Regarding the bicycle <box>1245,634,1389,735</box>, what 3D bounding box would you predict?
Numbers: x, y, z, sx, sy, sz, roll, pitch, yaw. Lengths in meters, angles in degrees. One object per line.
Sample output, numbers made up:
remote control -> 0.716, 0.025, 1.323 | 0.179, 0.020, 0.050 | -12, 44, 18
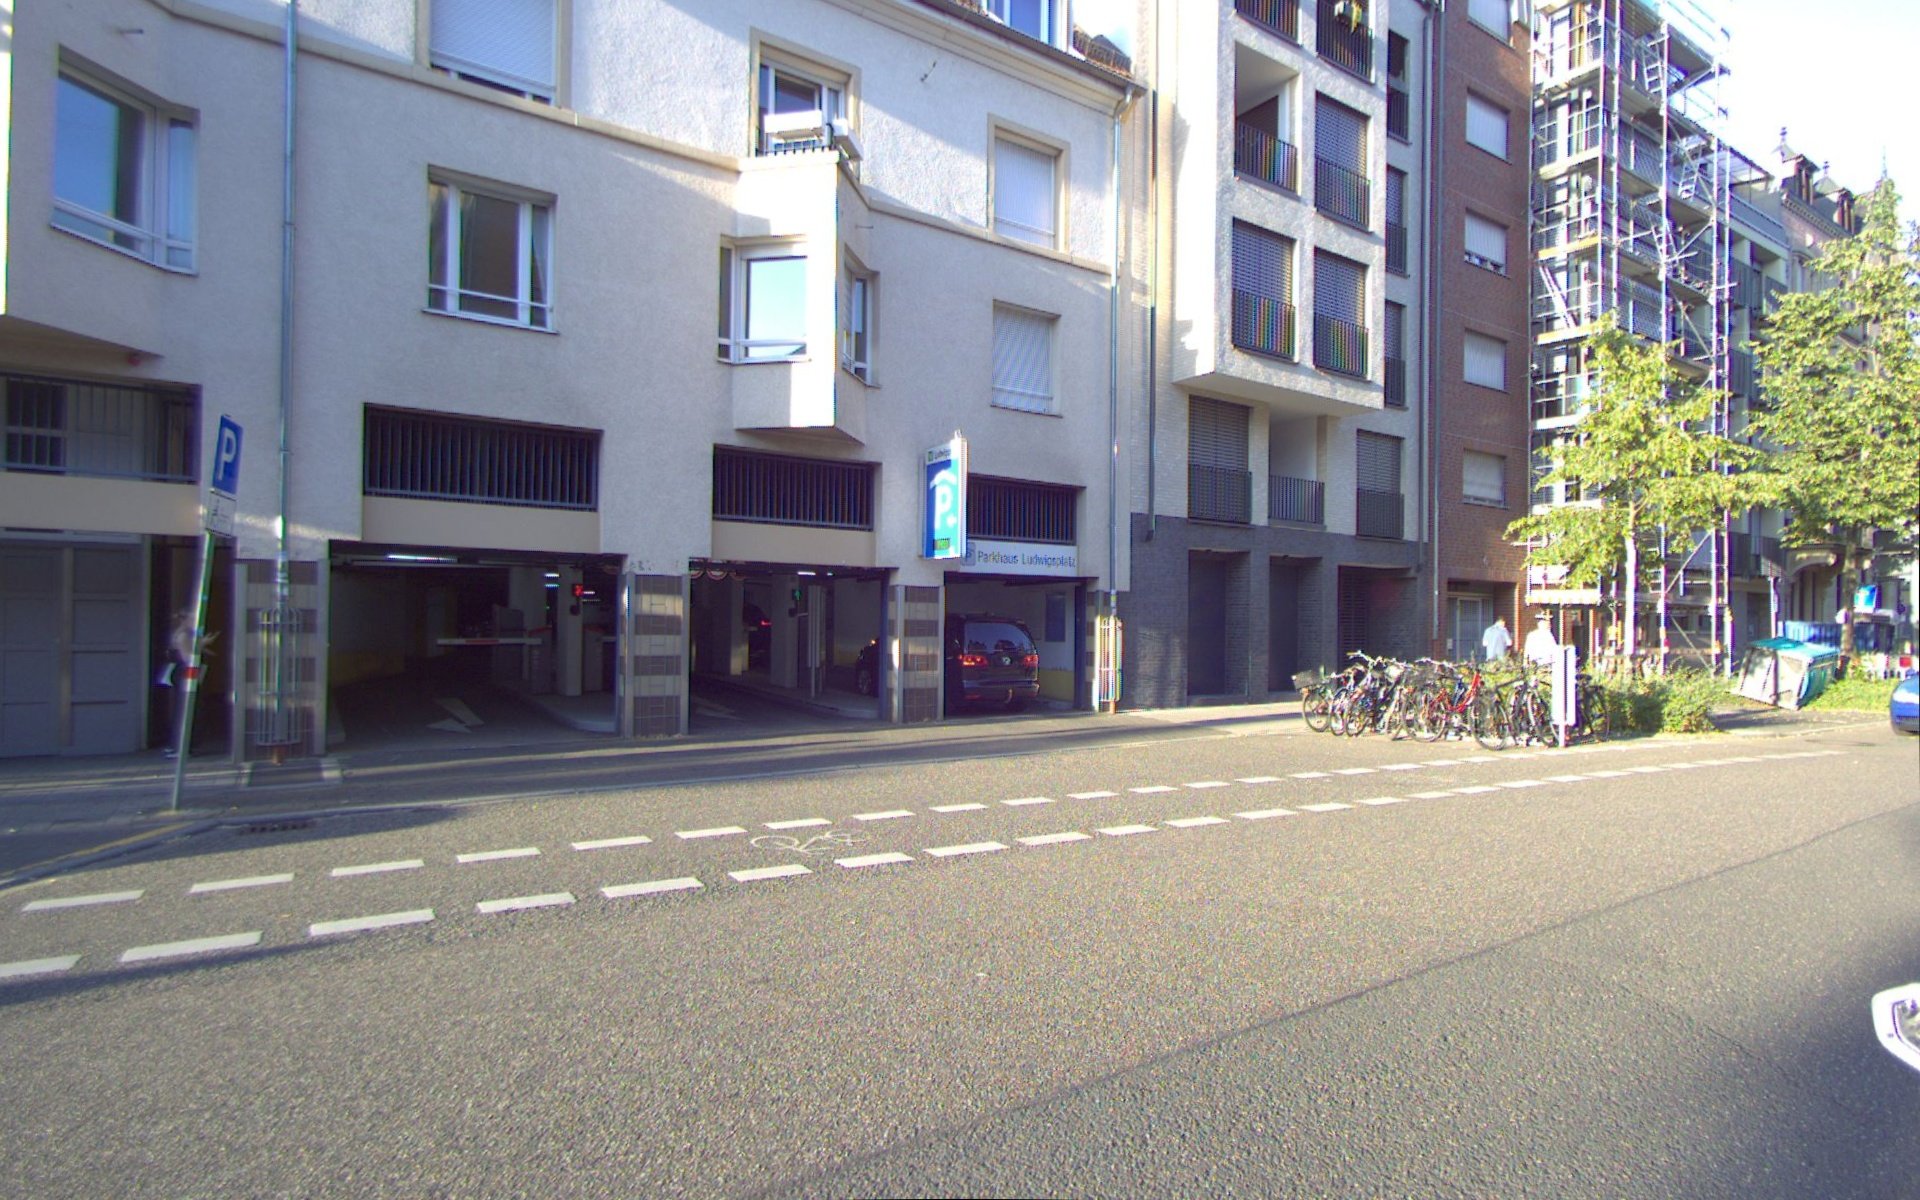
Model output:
bicycle -> 5.631, 1.269, 15.682 | 3.130, 1.414, 0.714 | 2, 0, -43

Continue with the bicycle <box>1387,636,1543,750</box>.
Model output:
bicycle -> 7.119, 1.232, 14.035 | 3.143, 1.414, 0.884 | 2, -1, -43

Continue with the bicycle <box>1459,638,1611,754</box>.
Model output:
bicycle -> 7.709, 1.202, 13.366 | 3.164, 1.368, 0.837 | 2, -2, -43

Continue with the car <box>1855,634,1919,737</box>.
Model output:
car -> 15.656, 1.288, 15.300 | 4.282, 1.459, 1.829 | 2, -2, -31

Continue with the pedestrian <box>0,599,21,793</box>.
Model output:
pedestrian -> -8.580, 0.812, 8.420 | 0.845, 1.663, 0.713 | 2, 0, -29

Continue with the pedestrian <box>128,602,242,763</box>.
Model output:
pedestrian -> -8.265, 0.854, 10.754 | 0.845, 1.637, 0.713 | 2, 0, -31

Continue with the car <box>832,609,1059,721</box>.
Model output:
car -> -0.415, 1.033, 17.715 | 1.978, 1.623, 4.470 | 2, 0, -31

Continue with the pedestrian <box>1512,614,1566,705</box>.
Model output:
pedestrian -> 11.730, 1.189, 20.350 | 0.733, 1.763, 0.710 | 2, 0, -41

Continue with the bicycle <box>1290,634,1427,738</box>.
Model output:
bicycle -> 6.079, 1.238, 15.181 | 3.138, 1.414, 0.579 | 2, 0, -43

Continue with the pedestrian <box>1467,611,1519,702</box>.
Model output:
pedestrian -> 10.920, 1.145, 20.575 | 0.689, 1.790, 0.710 | 2, 0, -41

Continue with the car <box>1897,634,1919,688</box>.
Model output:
car -> 28.198, 1.752, 26.990 | 1.868, 1.485, 4.081 | 2, 0, -31

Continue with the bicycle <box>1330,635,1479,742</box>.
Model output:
bicycle -> 6.550, 1.234, 14.668 | 3.119, 1.391, 0.773 | 2, 0, -43

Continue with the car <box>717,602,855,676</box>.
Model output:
car -> -4.468, 0.919, 25.215 | 1.977, 1.623, 4.472 | 2, 0, -30
